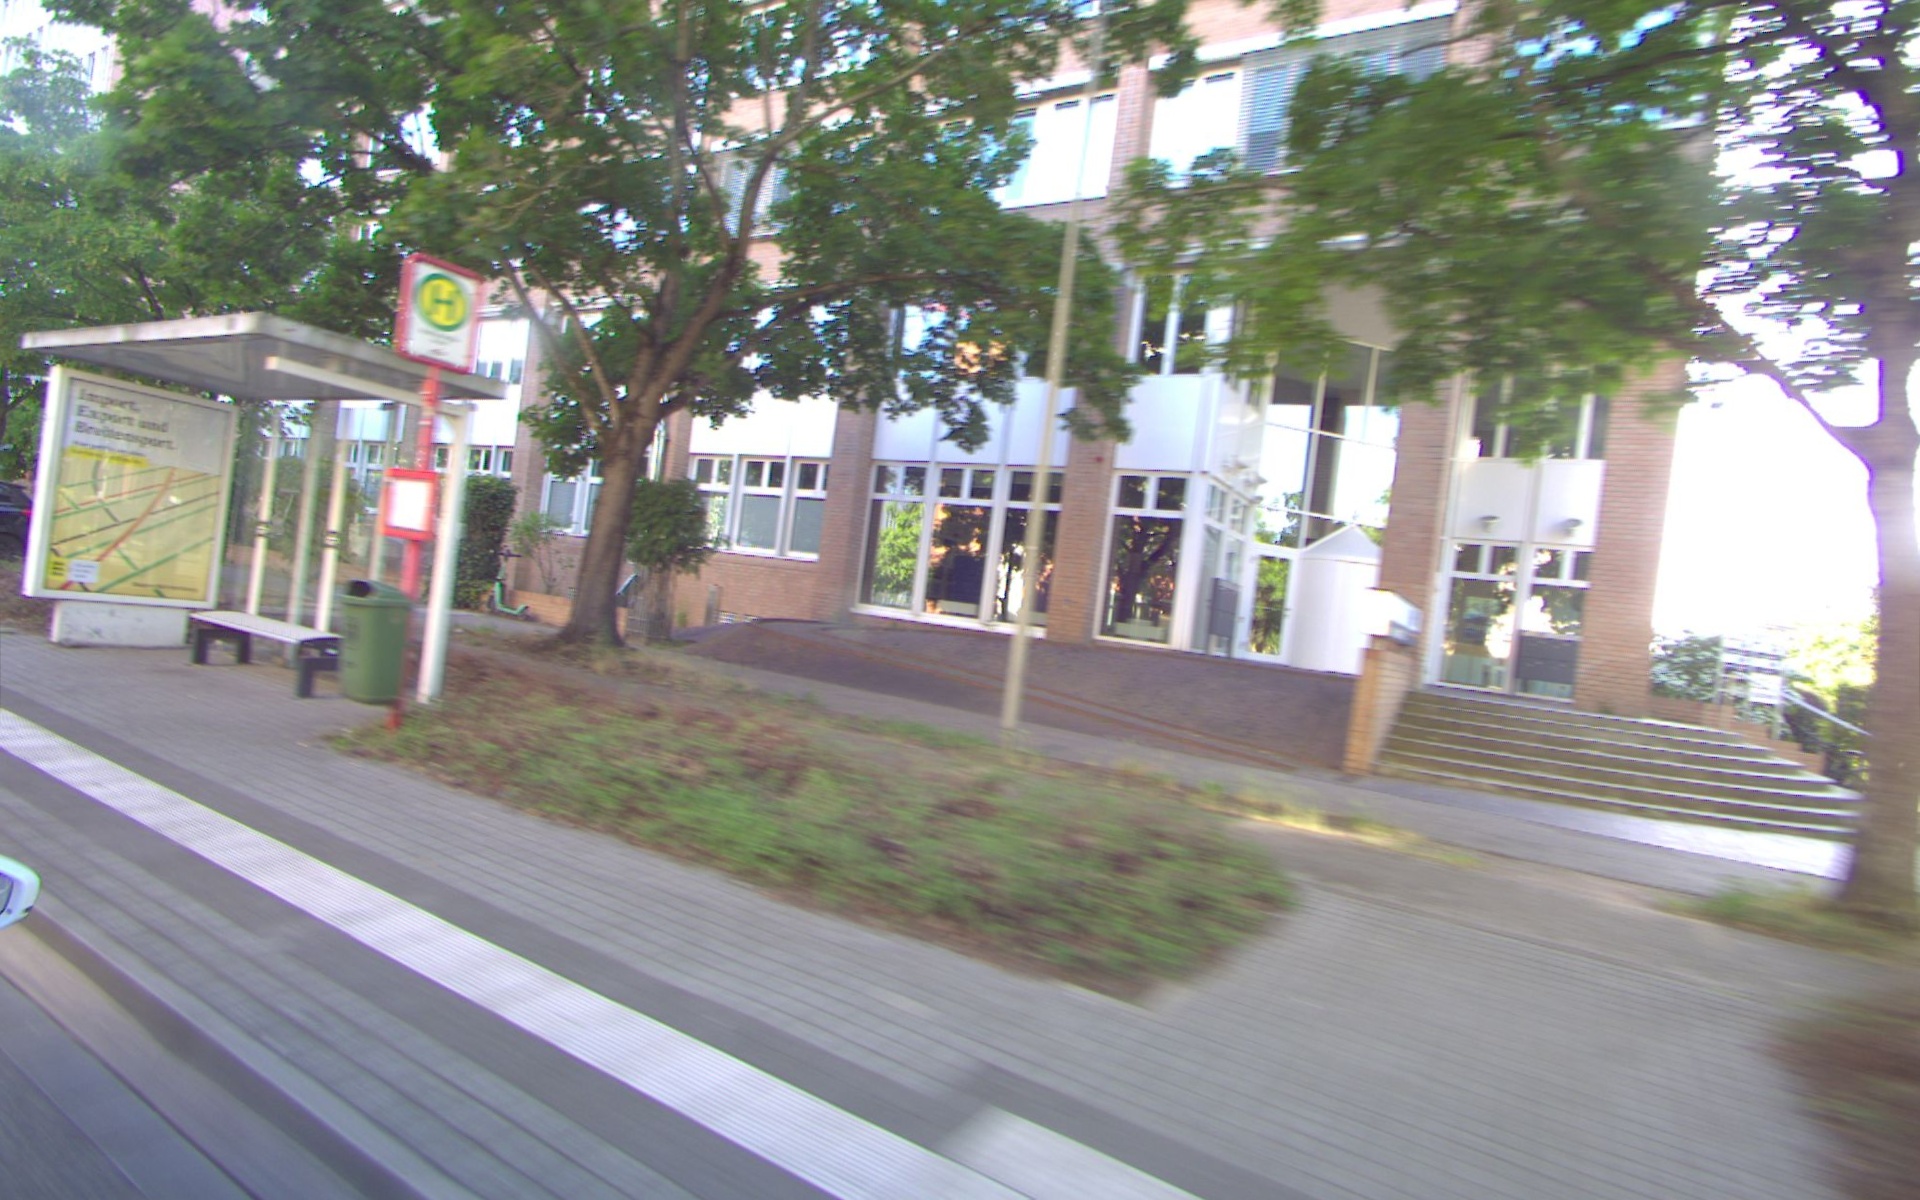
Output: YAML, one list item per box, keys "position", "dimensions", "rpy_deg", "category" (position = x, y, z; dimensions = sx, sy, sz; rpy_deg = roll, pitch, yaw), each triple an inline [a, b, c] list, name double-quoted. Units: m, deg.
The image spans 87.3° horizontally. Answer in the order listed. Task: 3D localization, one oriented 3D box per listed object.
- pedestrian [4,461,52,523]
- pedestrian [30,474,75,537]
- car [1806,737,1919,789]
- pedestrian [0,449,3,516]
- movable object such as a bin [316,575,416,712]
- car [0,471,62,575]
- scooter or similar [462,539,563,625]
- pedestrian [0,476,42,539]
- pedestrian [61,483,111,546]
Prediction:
- position: [-28.261, -3.272, 30.508]
  dimensions: [0.903, 1.734, 0.697]
  rpy_deg: [8, 4, 21]
  category: "pedestrian"
- position: [-23.867, -2.490, 26.455]
  dimensions: [0.584, 1.539, 0.603]
  rpy_deg: [7, 0, 29]
  category: "pedestrian"
- position: [42.755, 7.665, 47.560]
  dimensions: [3.844, 1.520, 1.534]
  rpy_deg: [10, 1, 32]
  category: "car"
- position: [-12.922, -1.132, 12.724]
  dimensions: [0.685, 1.734, 0.919]
  rpy_deg: [7, 3, 18]
  category: "pedestrian"
- position: [-3.596, 0.257, 6.086]
  dimensions: [0.459, 0.763, 0.299]
  rpy_deg: [7, 2, 32]
  category: "movable object such as a bin"
- position: [-15.492, -1.357, 14.077]
  dimensions: [1.744, 1.456, 3.942]
  rpy_deg: [7, -1, 29]
  category: "car"
- position: [-8.213, -0.332, 18.452]
  dimensions: [1.774, 1.340, 0.550]
  rpy_deg: [7, -1, 27]
  category: "scooter or similar"
- position: [-24.149, -2.370, 25.736]
  dimensions: [0.703, 1.476, 0.701]
  rpy_deg: [8, 1, 29]
  category: "pedestrian"
- position: [-23.556, -2.297, 27.120]
  dimensions: [0.549, 1.571, 0.758]
  rpy_deg: [7, 0, 29]
  category: "pedestrian"
